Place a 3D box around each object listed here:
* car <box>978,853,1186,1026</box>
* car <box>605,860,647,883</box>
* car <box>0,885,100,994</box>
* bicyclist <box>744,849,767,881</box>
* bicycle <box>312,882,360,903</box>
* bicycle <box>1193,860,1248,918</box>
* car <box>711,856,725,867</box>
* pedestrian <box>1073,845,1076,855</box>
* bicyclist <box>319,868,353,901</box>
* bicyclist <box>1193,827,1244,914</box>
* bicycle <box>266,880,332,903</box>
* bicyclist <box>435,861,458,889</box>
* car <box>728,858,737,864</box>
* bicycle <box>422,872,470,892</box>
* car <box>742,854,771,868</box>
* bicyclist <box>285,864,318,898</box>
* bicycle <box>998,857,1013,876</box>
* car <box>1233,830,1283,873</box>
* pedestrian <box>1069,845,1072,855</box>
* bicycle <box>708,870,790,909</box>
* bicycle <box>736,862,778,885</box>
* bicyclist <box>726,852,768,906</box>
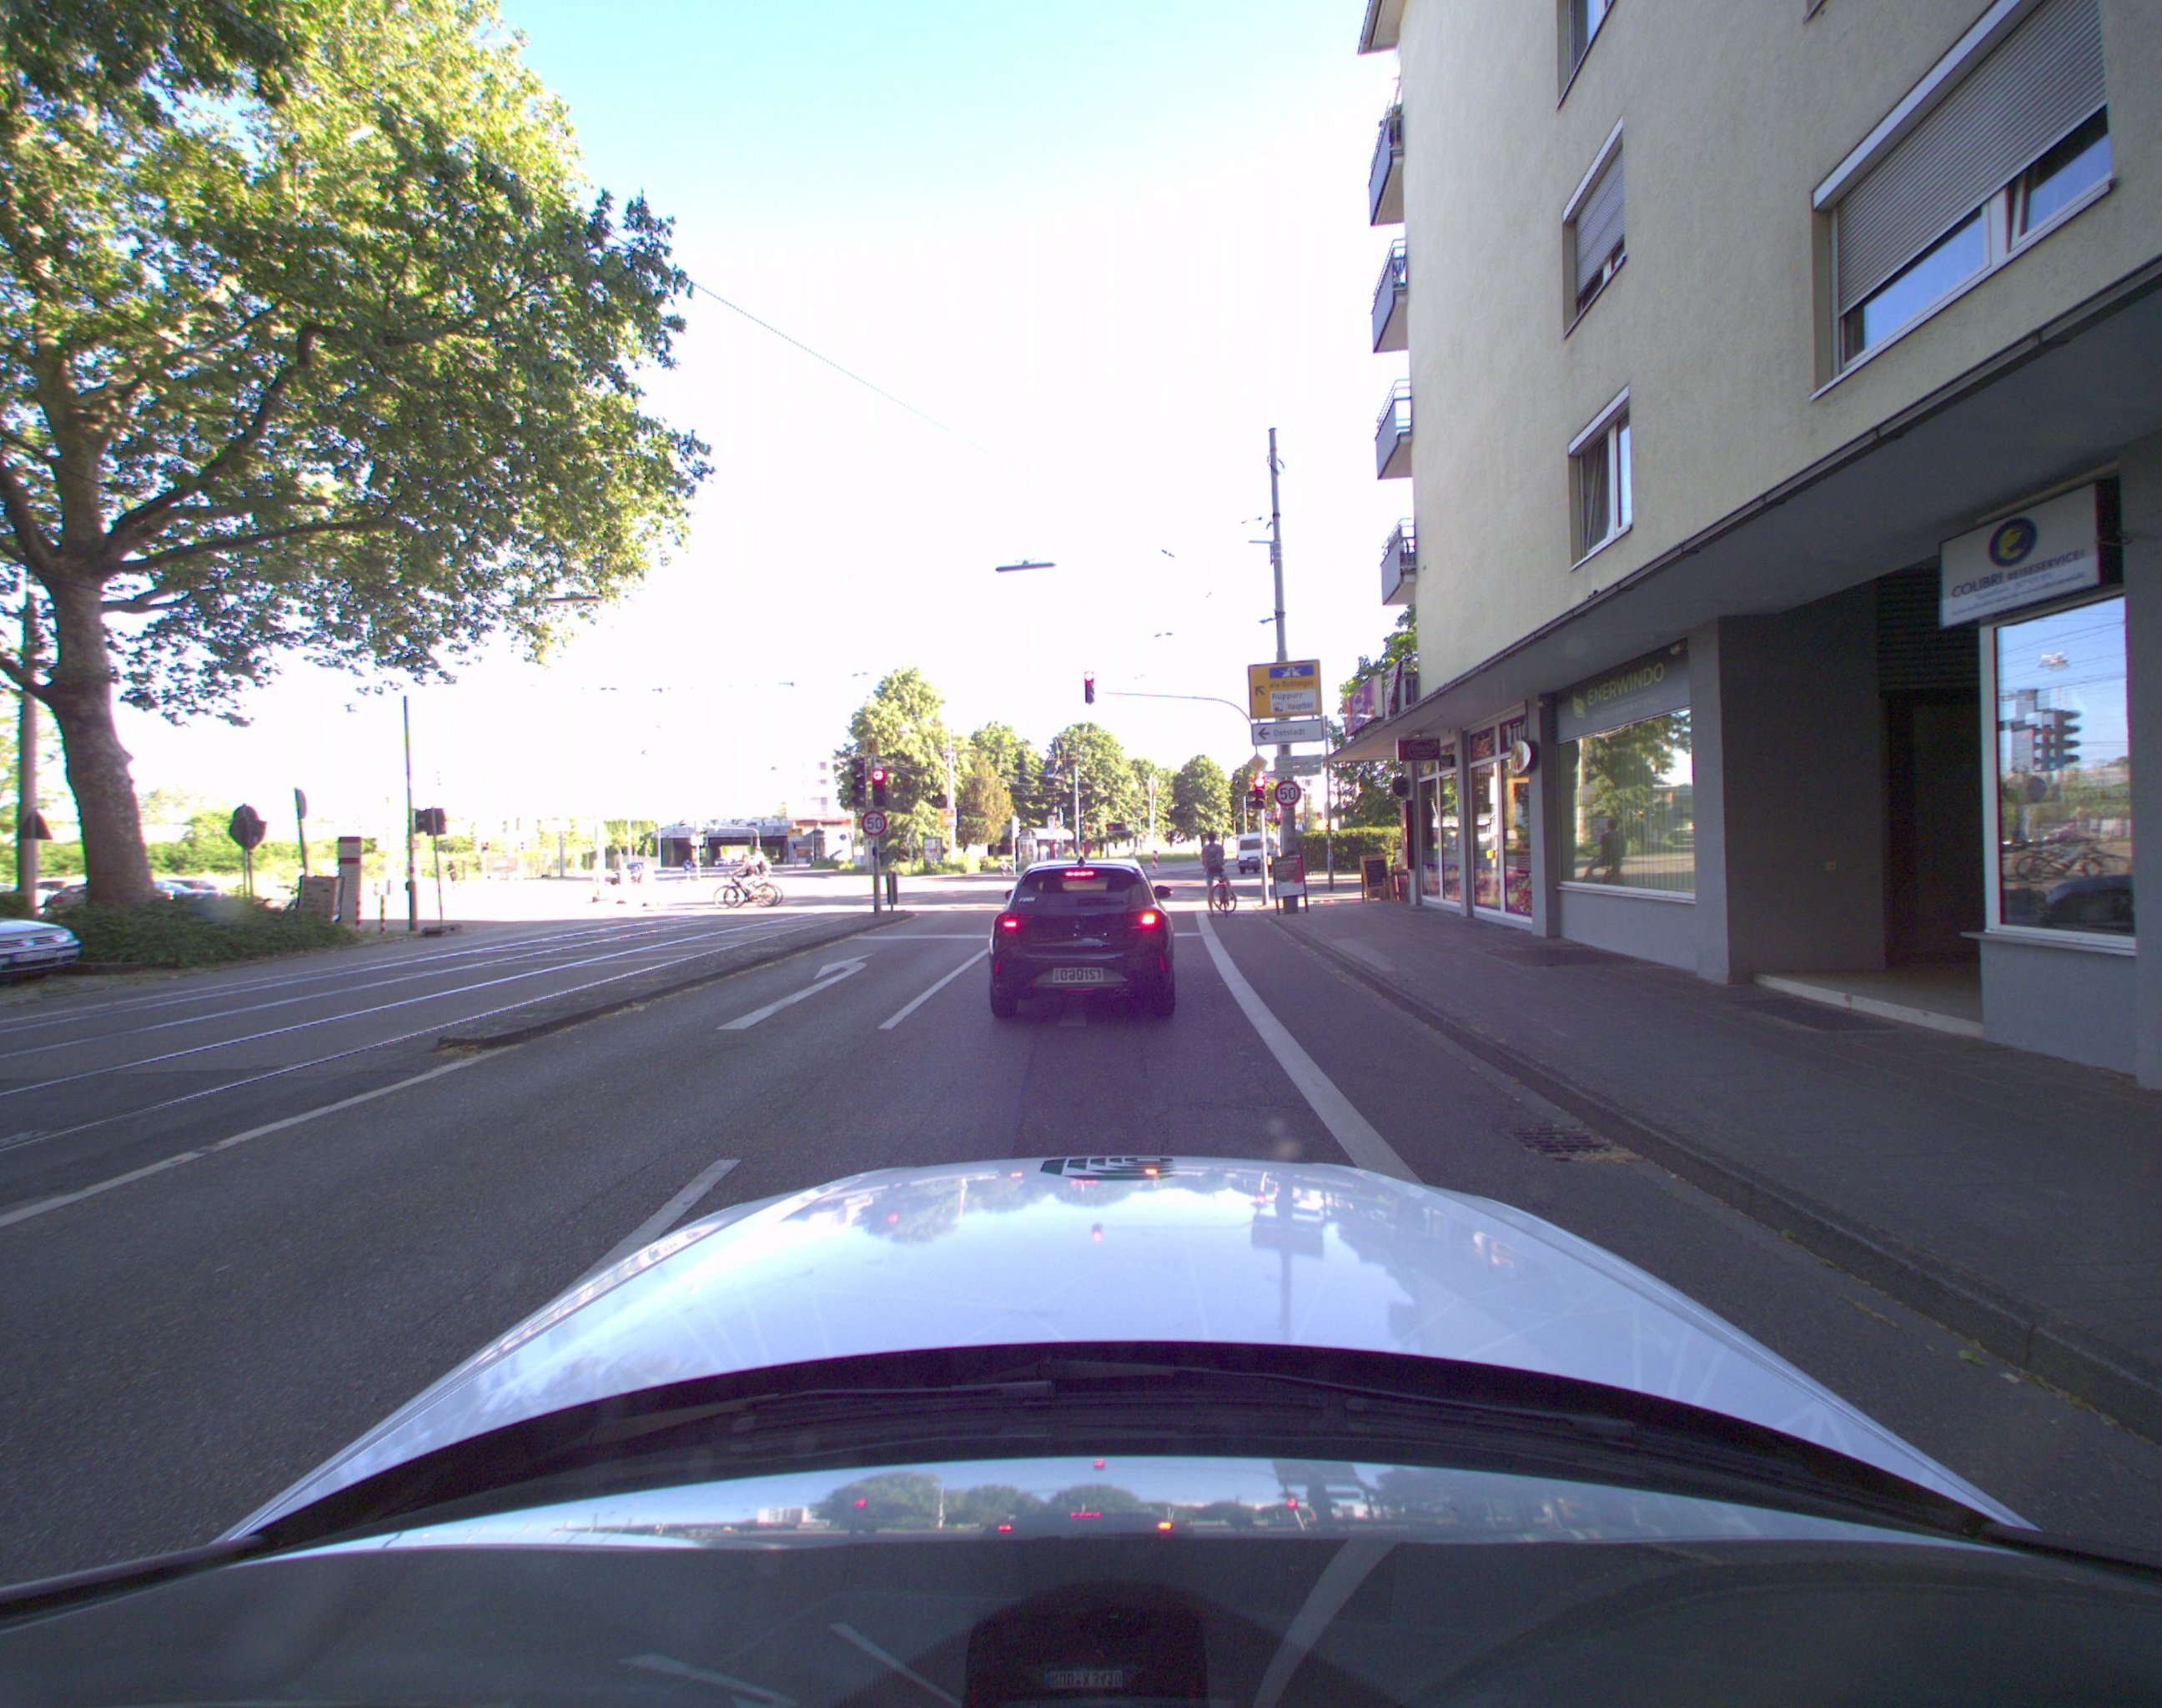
[{"bbox_3d":[0.081,0.715,8.922,1.720,1.429,4.189,-1,0,2],"label":"car"},{"bbox_3d":[-31.289,1.156,56.103,1.830,1.519,3.870,0,0,-18],"label":"car"},{"bbox_3d":[-16.962,1.199,11.363,4.497,1.429,1.676,0,0,0],"label":"car"},{"bbox_3d":[-16.943,0.577,42.414,0.854,1.595,0.652,-2,0,16],"label":"bicyclist"},{"bbox_3d":[-37.488,1.948,40.987,2.044,0.984,0.675,-2,0,12],"label":"bicycle"},{"bbox_3d":[3.033,0.733,17.977,0.857,1.153,2.172,-2,0,1],"label":"bicycle"},{"bbox_3d":[-65.947,1.386,147.927,2.223,1.823,4.114,-2,0,-24],"label":"car"},{"bbox_3d":[-0.897,-0.529,107.367,0.411,1.412,0.436,0,-1,1],"label":"pedestrian"},{"bbox_3d":[-37.483,1.521,40.997,1.003,1.570,0.802,-2,0,13],"label":"bicyclist"},{"bbox_3d":[3.014,0.353,17.982,0.938,1.851,0.864,-2,0,1],"label":"bicyclist"},{"bbox_3d":[-40.302,1.925,42.009,2.302,1.084,0.795,-2,0,-22],"label":"bicycle"},{"bbox_3d":[-36.282,1.188,46.560,0.629,1.563,0.838,-2,0,27],"label":"bicyclist"},{"bbox_3d":[-94.461,1.929,220.791,2.003,1.602,4.213,-2,0,-24],"label":"car"},{"bbox_3d":[-36.272,1.592,46.535,0.576,1.060,2.054,-2,0,27],"label":"bicycle"},{"bbox_3d":[-43.748,0.932,109.963,1.721,1.805,4.198,-2,0,8],"label":"car"},{"bbox_3d":[-40.218,1.399,42.041,0.930,1.707,0.869,-2,0,-22],"label":"bicyclist"},{"bbox_3d":[-4.308,0.726,46.738,0.603,1.031,1.983,-2,0,2],"label":"bicycle"},{"bbox_3d":[10.143,-0.153,46.383,2.046,2.248,4.912,-2,0,20],"label":"car"},{"bbox_3d":[-1.357,-0.527,107.859,0.411,1.412,0.436,0,-1,-1],"label":"pedestrian"},{"bbox_3d":[-9.924,1.045,24.417,2.199,1.033,0.828,-2,0,-21],"label":"bicycle"},{"bbox_3d":[-16.881,1.007,42.404,2.040,1.094,0.595,-2,0,14],"label":"bicycle"},{"bbox_3d":[-9.993,0.730,24.405,1.117,1.520,0.915,-2,0,-21],"label":"bicyclist"}]
